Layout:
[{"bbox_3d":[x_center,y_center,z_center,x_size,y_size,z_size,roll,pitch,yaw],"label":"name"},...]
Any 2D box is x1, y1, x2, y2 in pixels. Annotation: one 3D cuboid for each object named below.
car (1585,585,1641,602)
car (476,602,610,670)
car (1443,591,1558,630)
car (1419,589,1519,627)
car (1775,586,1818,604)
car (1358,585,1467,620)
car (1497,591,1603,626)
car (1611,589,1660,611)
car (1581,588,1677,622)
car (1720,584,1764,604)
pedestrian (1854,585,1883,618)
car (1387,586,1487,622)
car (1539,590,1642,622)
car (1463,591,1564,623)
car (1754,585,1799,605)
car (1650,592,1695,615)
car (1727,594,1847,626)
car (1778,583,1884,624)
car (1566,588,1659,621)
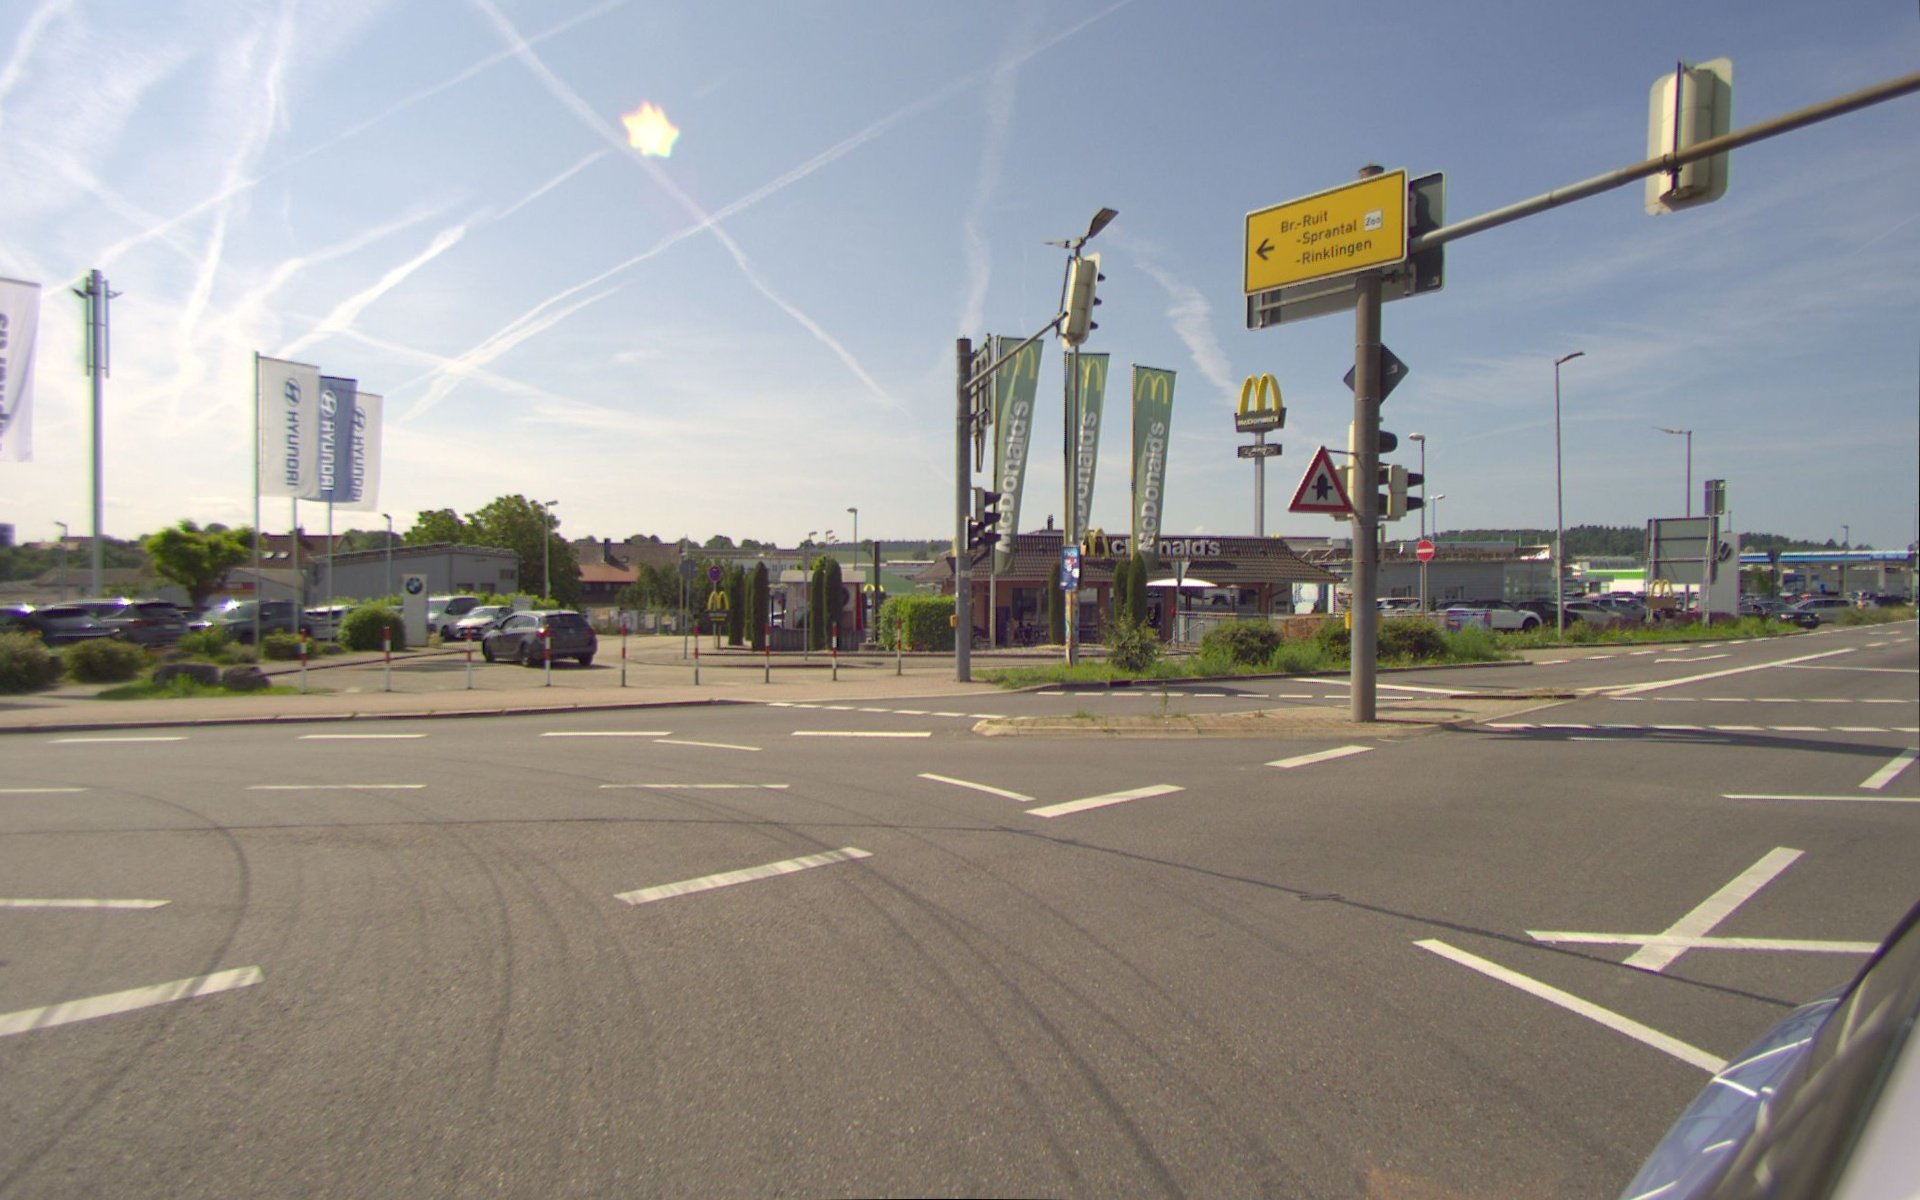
[{"bbox_3d":[58.501,-0.592,90.632,4.390,1.449,1.827,0,2,-18],"label":"car"},{"bbox_3d":[-11.424,0.900,27.581,1.967,1.538,4.440,0,2,-43],"label":"car"},{"bbox_3d":[24.216,0.460,45.440,4.149,1.596,1.863,1,1,-4],"label":"car"},{"bbox_3d":[24.176,0.362,48.120,3.832,1.691,1.778,1,1,-4],"label":"car"},{"bbox_3d":[74.904,-0.448,90.638,4.451,1.600,1.777,0,2,-35],"label":"car"},{"bbox_3d":[23.359,0.110,52.365,4.722,1.691,1.915,1,1,-4],"label":"car"},{"bbox_3d":[28.255,0.406,48.517,4.009,1.551,1.778,1,1,-4],"label":"car"},{"bbox_3d":[54.215,-0.031,81.189,4.452,1.675,1.776,0,2,-35],"label":"car"},{"bbox_3d":[36.191,0.230,54.867,3.975,1.691,1.765,2,2,20],"label":"car"},{"bbox_3d":[69.287,-0.534,89.627,4.451,1.675,1.777,0,2,-35],"label":"car"},{"bbox_3d":[53.523,0.072,59.619,0.975,1.935,0.740,1,1,16],"label":"pedestrian"},{"bbox_3d":[23.573,0.183,50.129,4.087,1.691,1.778,1,1,-4],"label":"car"},{"bbox_3d":[31.919,0.285,51.290,4.179,1.510,1.751,1,1,-4],"label":"car"},{"bbox_3d":[27.745,0.343,50.804,4.072,1.468,1.798,1,2,-4],"label":"car"},{"bbox_3d":[70.409,-0.442,87.280,4.451,1.675,1.777,0,2,-35],"label":"car"},{"bbox_3d":[54.791,0.247,77.792,4.463,1.675,1.965,-1,2,-44],"label":"car"},{"bbox_3d":[39.098,0.512,48.043,1.931,1.350,4.808,-3,-2,5],"label":"car"},{"bbox_3d":[50.869,0.168,59.207,4.296,2.240,1.752,2,1,21],"label":"car"},{"bbox_3d":[36.765,0.248,57.159,3.940,1.691,1.913,1,2,14],"label":"car"}]
